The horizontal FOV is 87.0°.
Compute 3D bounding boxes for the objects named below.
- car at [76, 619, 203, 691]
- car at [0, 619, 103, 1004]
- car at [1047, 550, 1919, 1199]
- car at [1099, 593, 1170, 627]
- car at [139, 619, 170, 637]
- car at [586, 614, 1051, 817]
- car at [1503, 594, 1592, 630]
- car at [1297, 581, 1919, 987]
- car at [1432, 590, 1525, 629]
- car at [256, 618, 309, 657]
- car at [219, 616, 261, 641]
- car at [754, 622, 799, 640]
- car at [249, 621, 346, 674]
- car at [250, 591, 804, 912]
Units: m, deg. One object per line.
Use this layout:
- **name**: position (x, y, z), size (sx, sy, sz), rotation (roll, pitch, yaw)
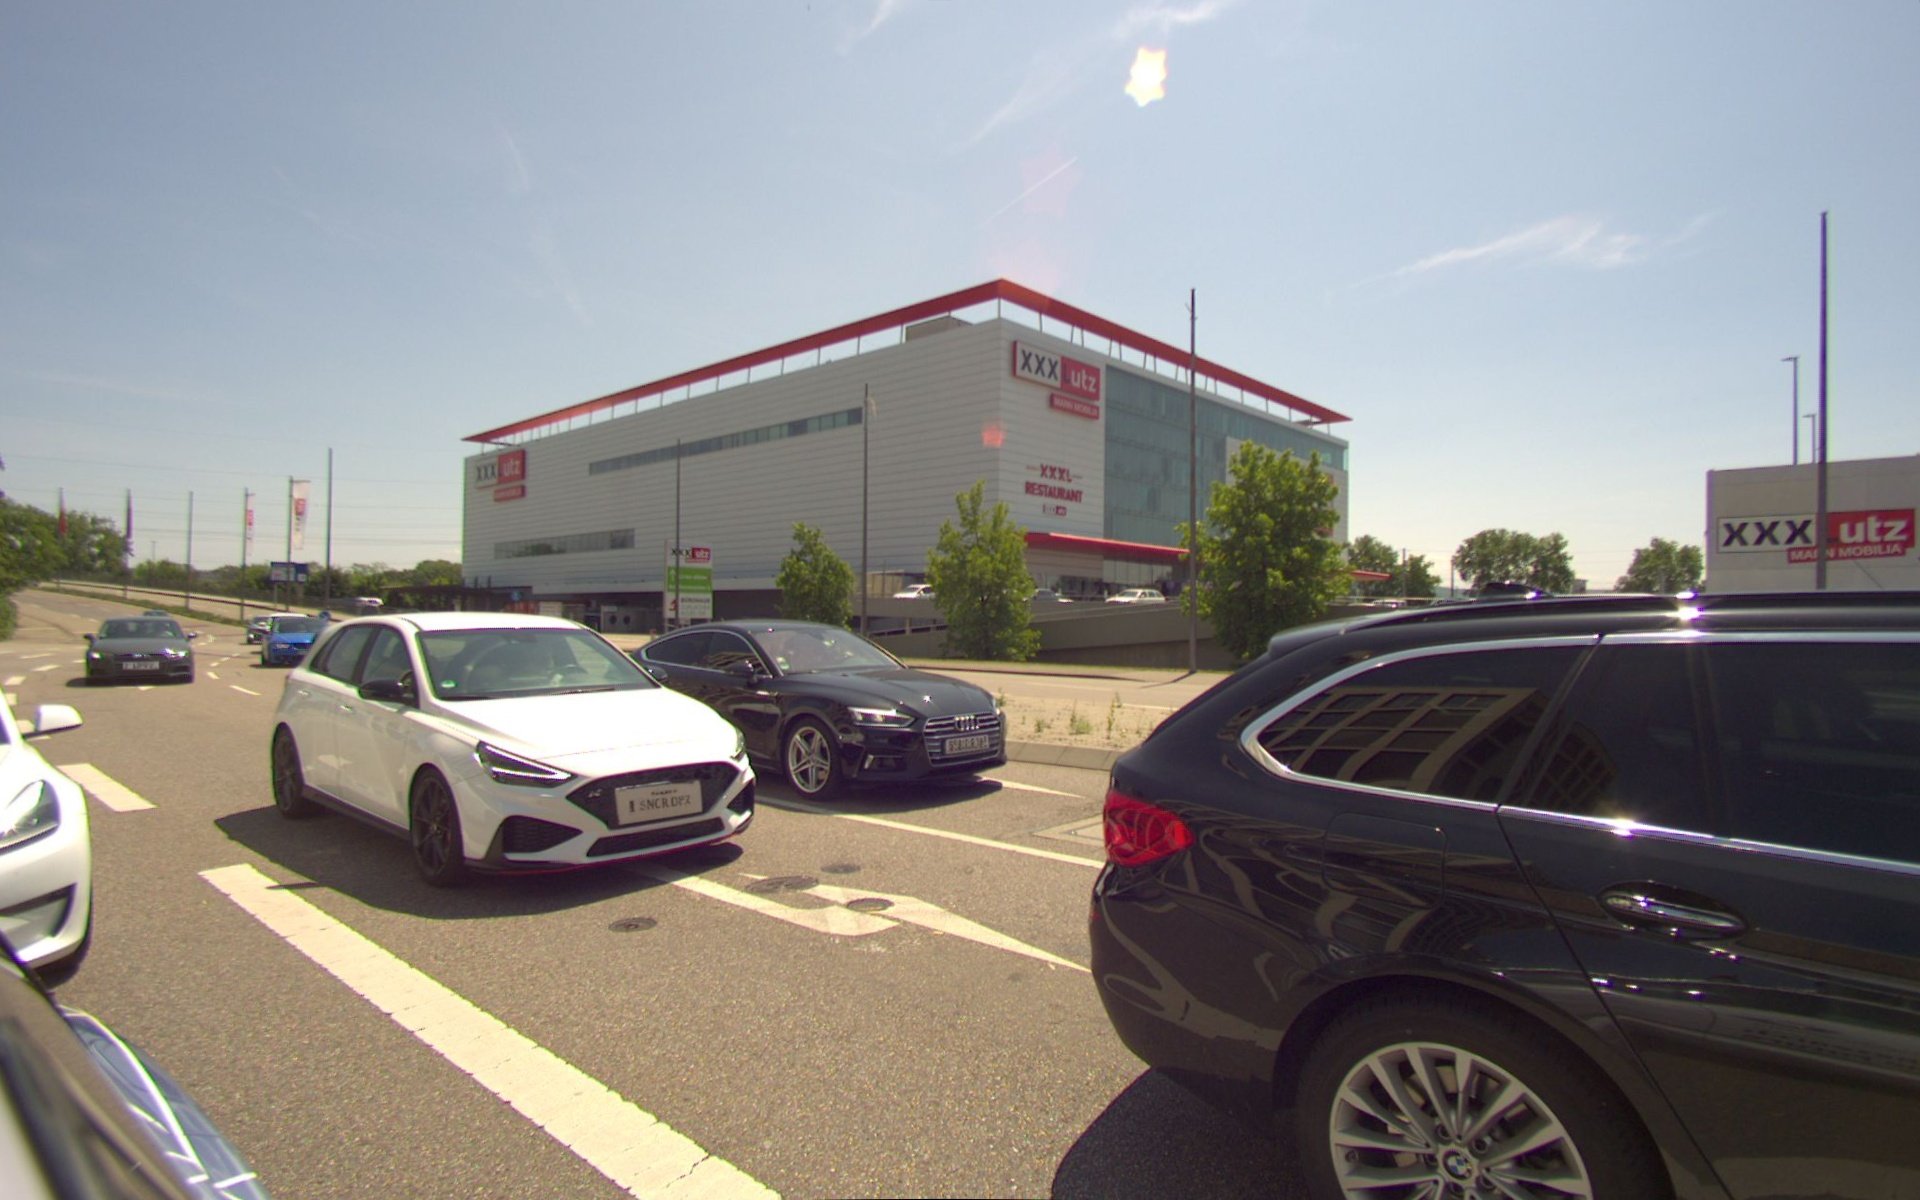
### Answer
- **car**: position (-17.768, 1.115, 21.845), size (1.776, 1.388, 4.410), rotation (1, -1, -43)
- **car**: position (-5.694, 0.829, 4.692), size (4.401, 1.436, 1.857), rotation (-1, -1, 39)
- **car**: position (2.546, 0.655, 1.691), size (4.620, 1.477, 1.781), rotation (-1, -1, 40)
- **car**: position (9.942, 0.590, 57.566), size (2.001, 1.781, 4.140), rotation (0, -2, 44)
- **car**: position (-58.784, 2.025, 73.829), size (1.454, 1.198, 3.356), rotation (1, 0, -43)
- **car**: position (-1.496, 0.860, 9.187), size (4.533, 1.401, 1.729), rotation (-2, -2, 43)
- **car**: position (32.433, 0.668, 55.932), size (3.996, 1.923, 1.974), rotation (-1, -2, 39)
- **car**: position (3.834, 0.693, 4.668), size (3.991, 1.505, 1.782), rotation (-1, -1, 36)
- **car**: position (27.132, 0.529, 53.045), size (3.998, 1.946, 1.973), rotation (-1, -2, 41)
- **car**: position (-28.715, 1.551, 42.843), size (1.653, 1.587, 4.066), rotation (1, -1, -37)
- **car**: position (-50.853, 2.007, 71.447), size (1.811, 1.674, 4.003), rotation (2, -2, -44)
- **car**: position (-16.939, 2.893, 93.353), size (1.911, 1.632, 3.698), rotation (0, -2, 41)
- **car**: position (-19.317, 1.317, 29.432), size (1.775, 1.424, 4.412), rotation (2, -2, -41)
- **car**: position (-3.058, 0.731, 6.673), size (4.228, 1.461, 1.712), rotation (-1, -1, 41)
